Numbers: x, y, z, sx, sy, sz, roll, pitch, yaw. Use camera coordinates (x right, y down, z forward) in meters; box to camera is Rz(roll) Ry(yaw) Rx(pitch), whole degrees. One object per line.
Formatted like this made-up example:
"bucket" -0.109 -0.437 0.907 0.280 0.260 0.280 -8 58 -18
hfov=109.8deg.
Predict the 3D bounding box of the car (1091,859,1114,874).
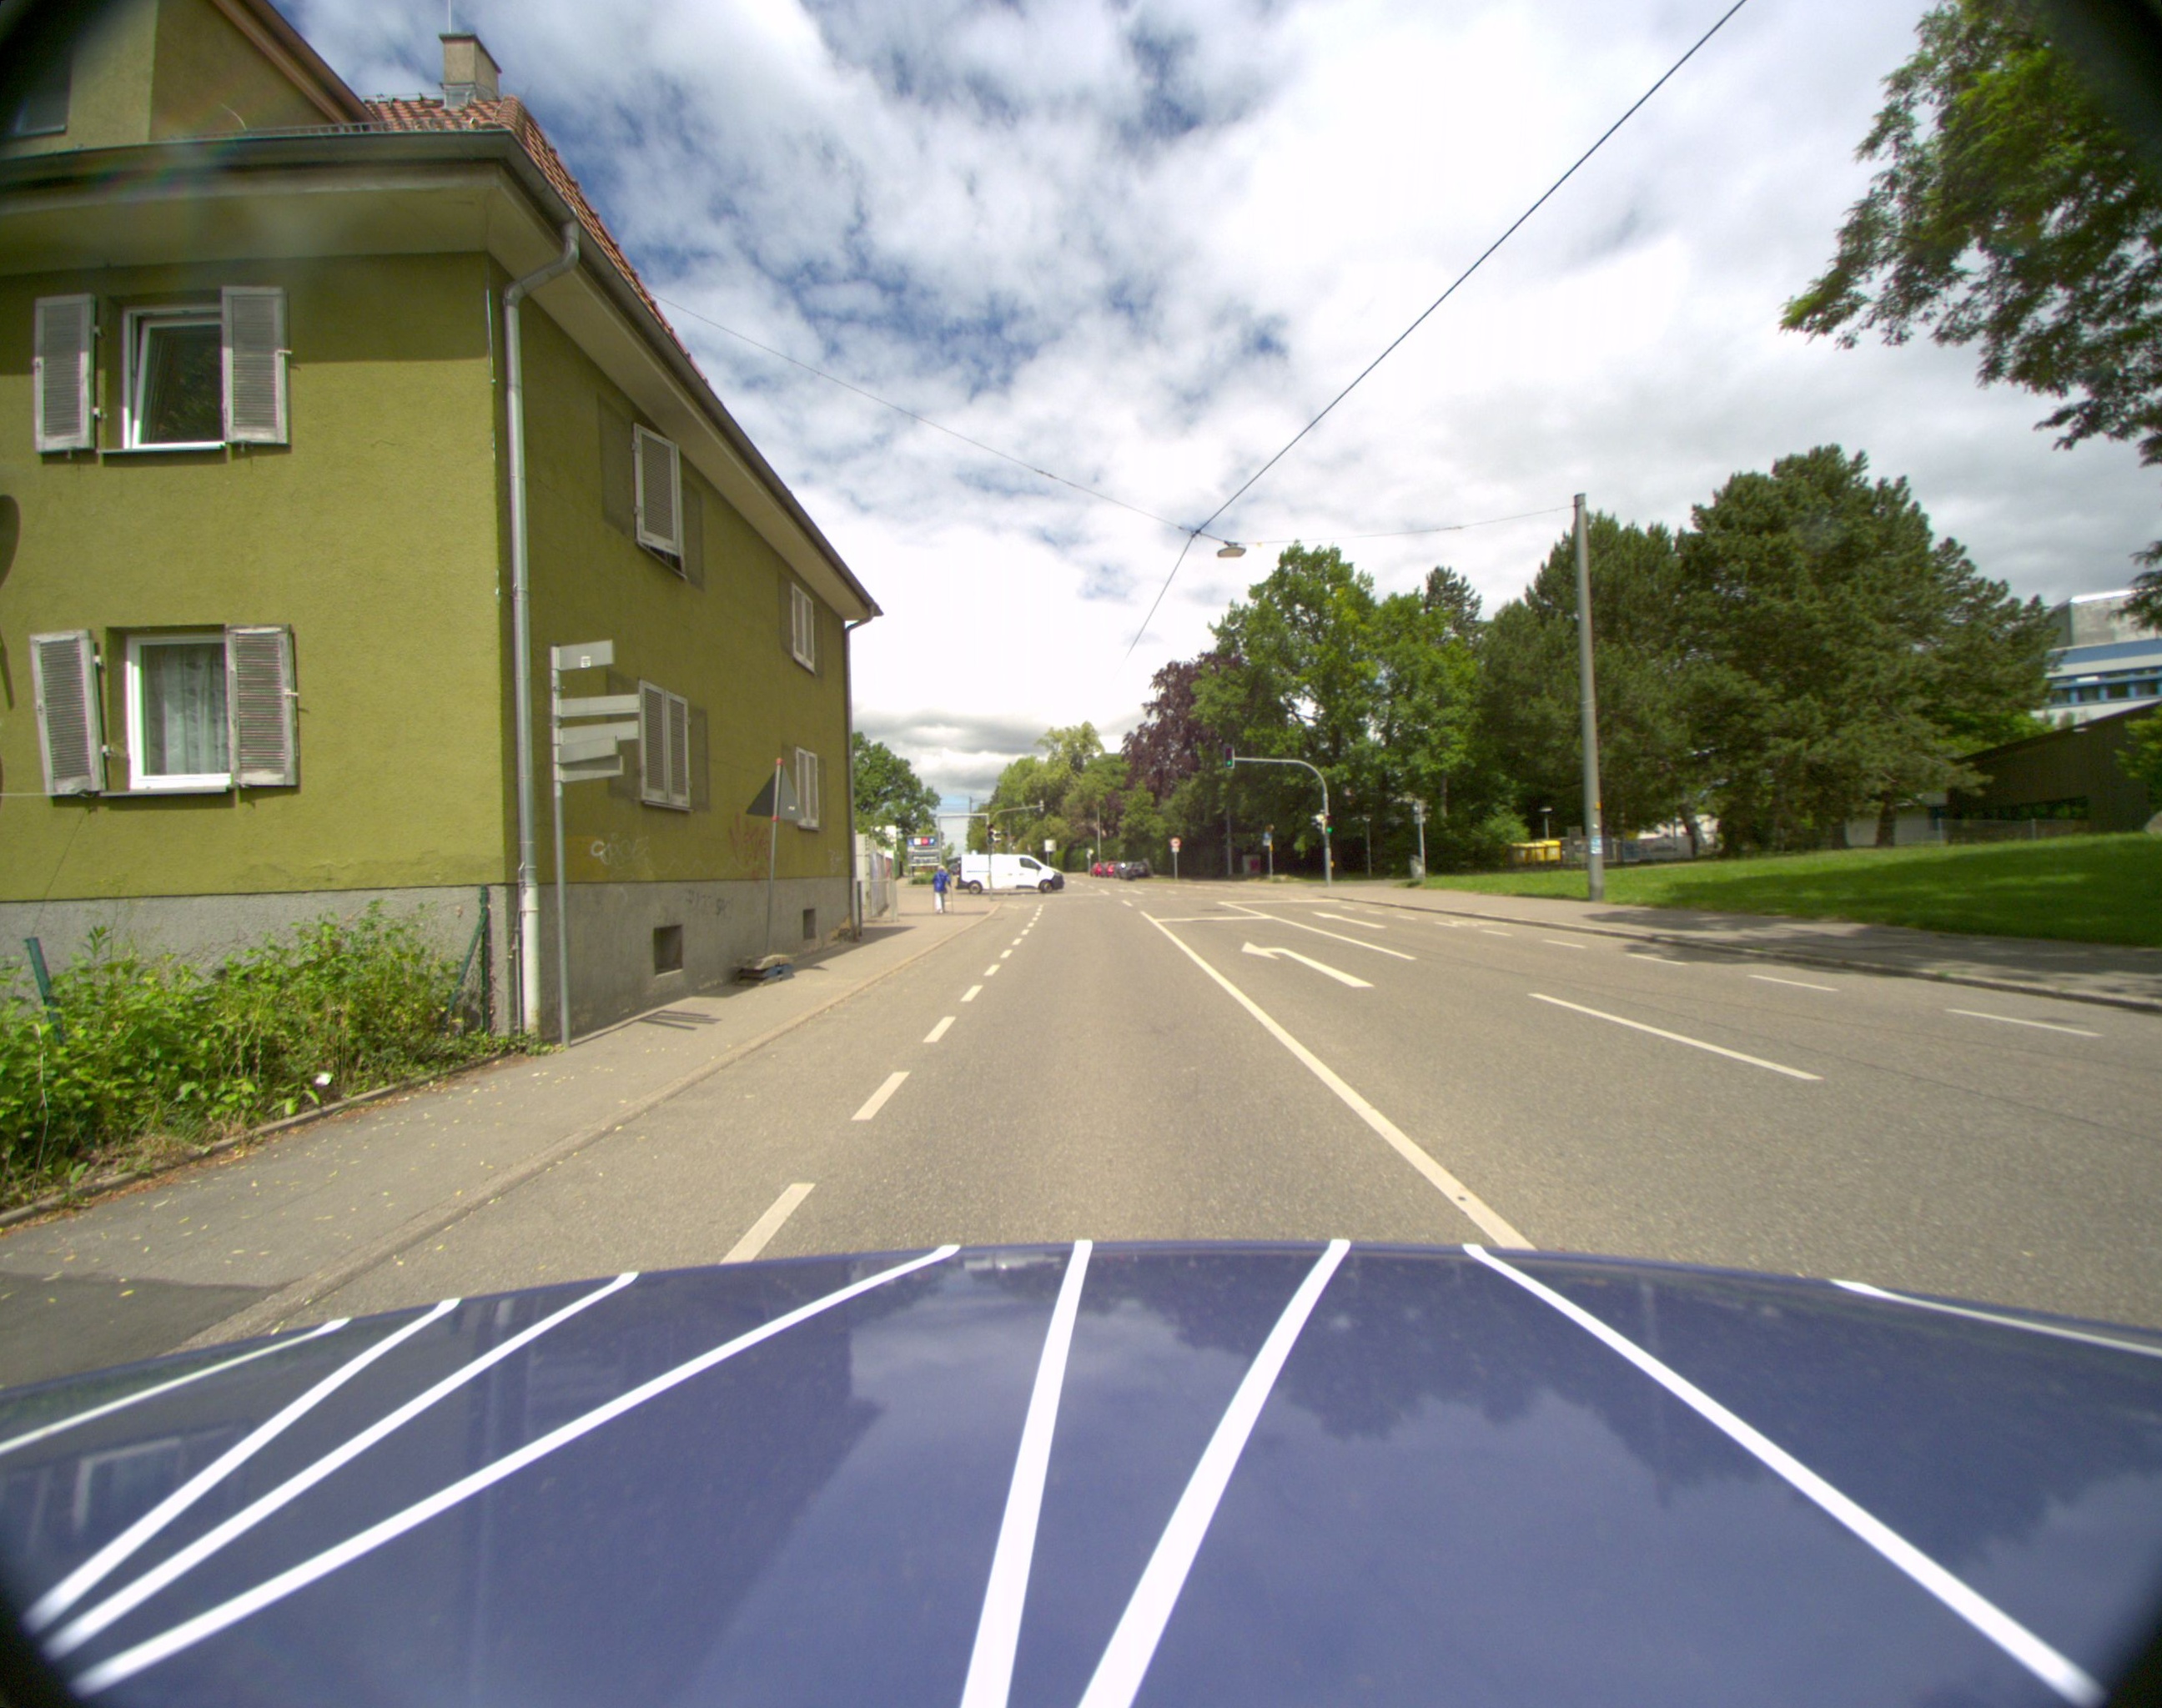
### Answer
"car" 2.161 1.218 76.488 1.531 1.358 3.371 -3 1 -12

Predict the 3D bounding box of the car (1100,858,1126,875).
"car" 2.997 1.122 71.352 1.524 1.469 3.321 -3 0 -12

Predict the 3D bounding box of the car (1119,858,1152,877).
"car" 4.443 1.095 62.384 1.688 1.407 4.398 -3 1 -9

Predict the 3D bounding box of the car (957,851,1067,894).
"car" -3.469 0.911 38.478 5.349 2.011 1.999 -1 0 -4

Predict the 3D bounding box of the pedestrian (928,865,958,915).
"pedestrian" -4.480 1.146 24.742 0.826 1.563 0.987 -1 0 -4

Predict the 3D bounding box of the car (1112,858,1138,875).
"car" 3.838 1.099 66.844 1.560 1.404 3.191 -3 1 -9
